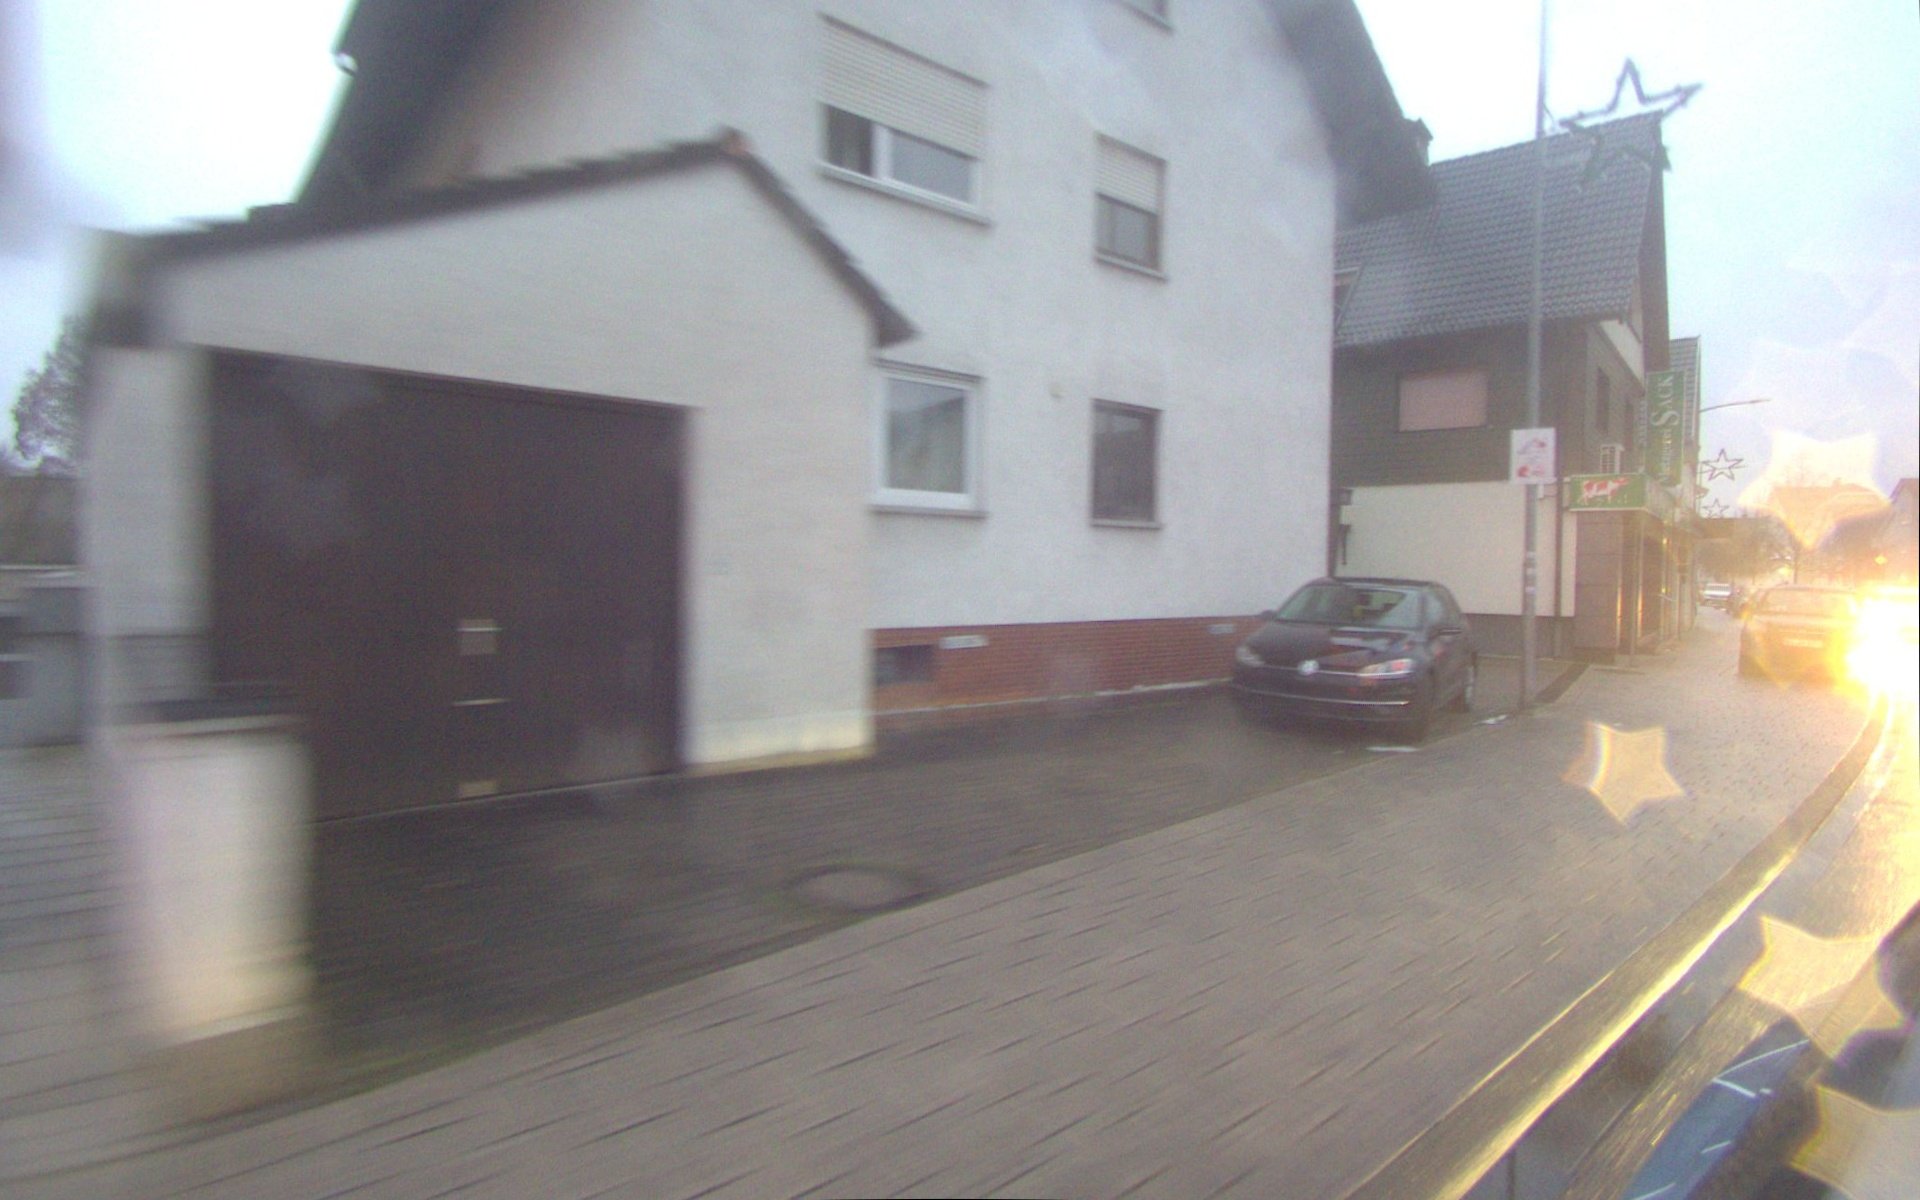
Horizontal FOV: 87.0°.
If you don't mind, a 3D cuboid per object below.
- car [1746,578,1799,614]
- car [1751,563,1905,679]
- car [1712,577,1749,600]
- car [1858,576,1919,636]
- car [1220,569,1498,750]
[{"bbox_3d":[39.598,-0.239,49.384,1.659,1.595,4.441,2,2,35],"label":"car"},{"bbox_3d":[15.919,0.307,18.500,1.771,1.803,3.936,6,5,44],"label":"car"},{"bbox_3d":[55.050,-0.843,72.400,1.801,1.583,4.253,2,3,34],"label":"car"},{"bbox_3d":[30.402,0.162,32.346,1.896,1.659,4.511,4,5,34],"label":"car"},{"bbox_3d":[4.257,0.439,10.438,1.760,1.410,3.865,4,3,35],"label":"car"}]
